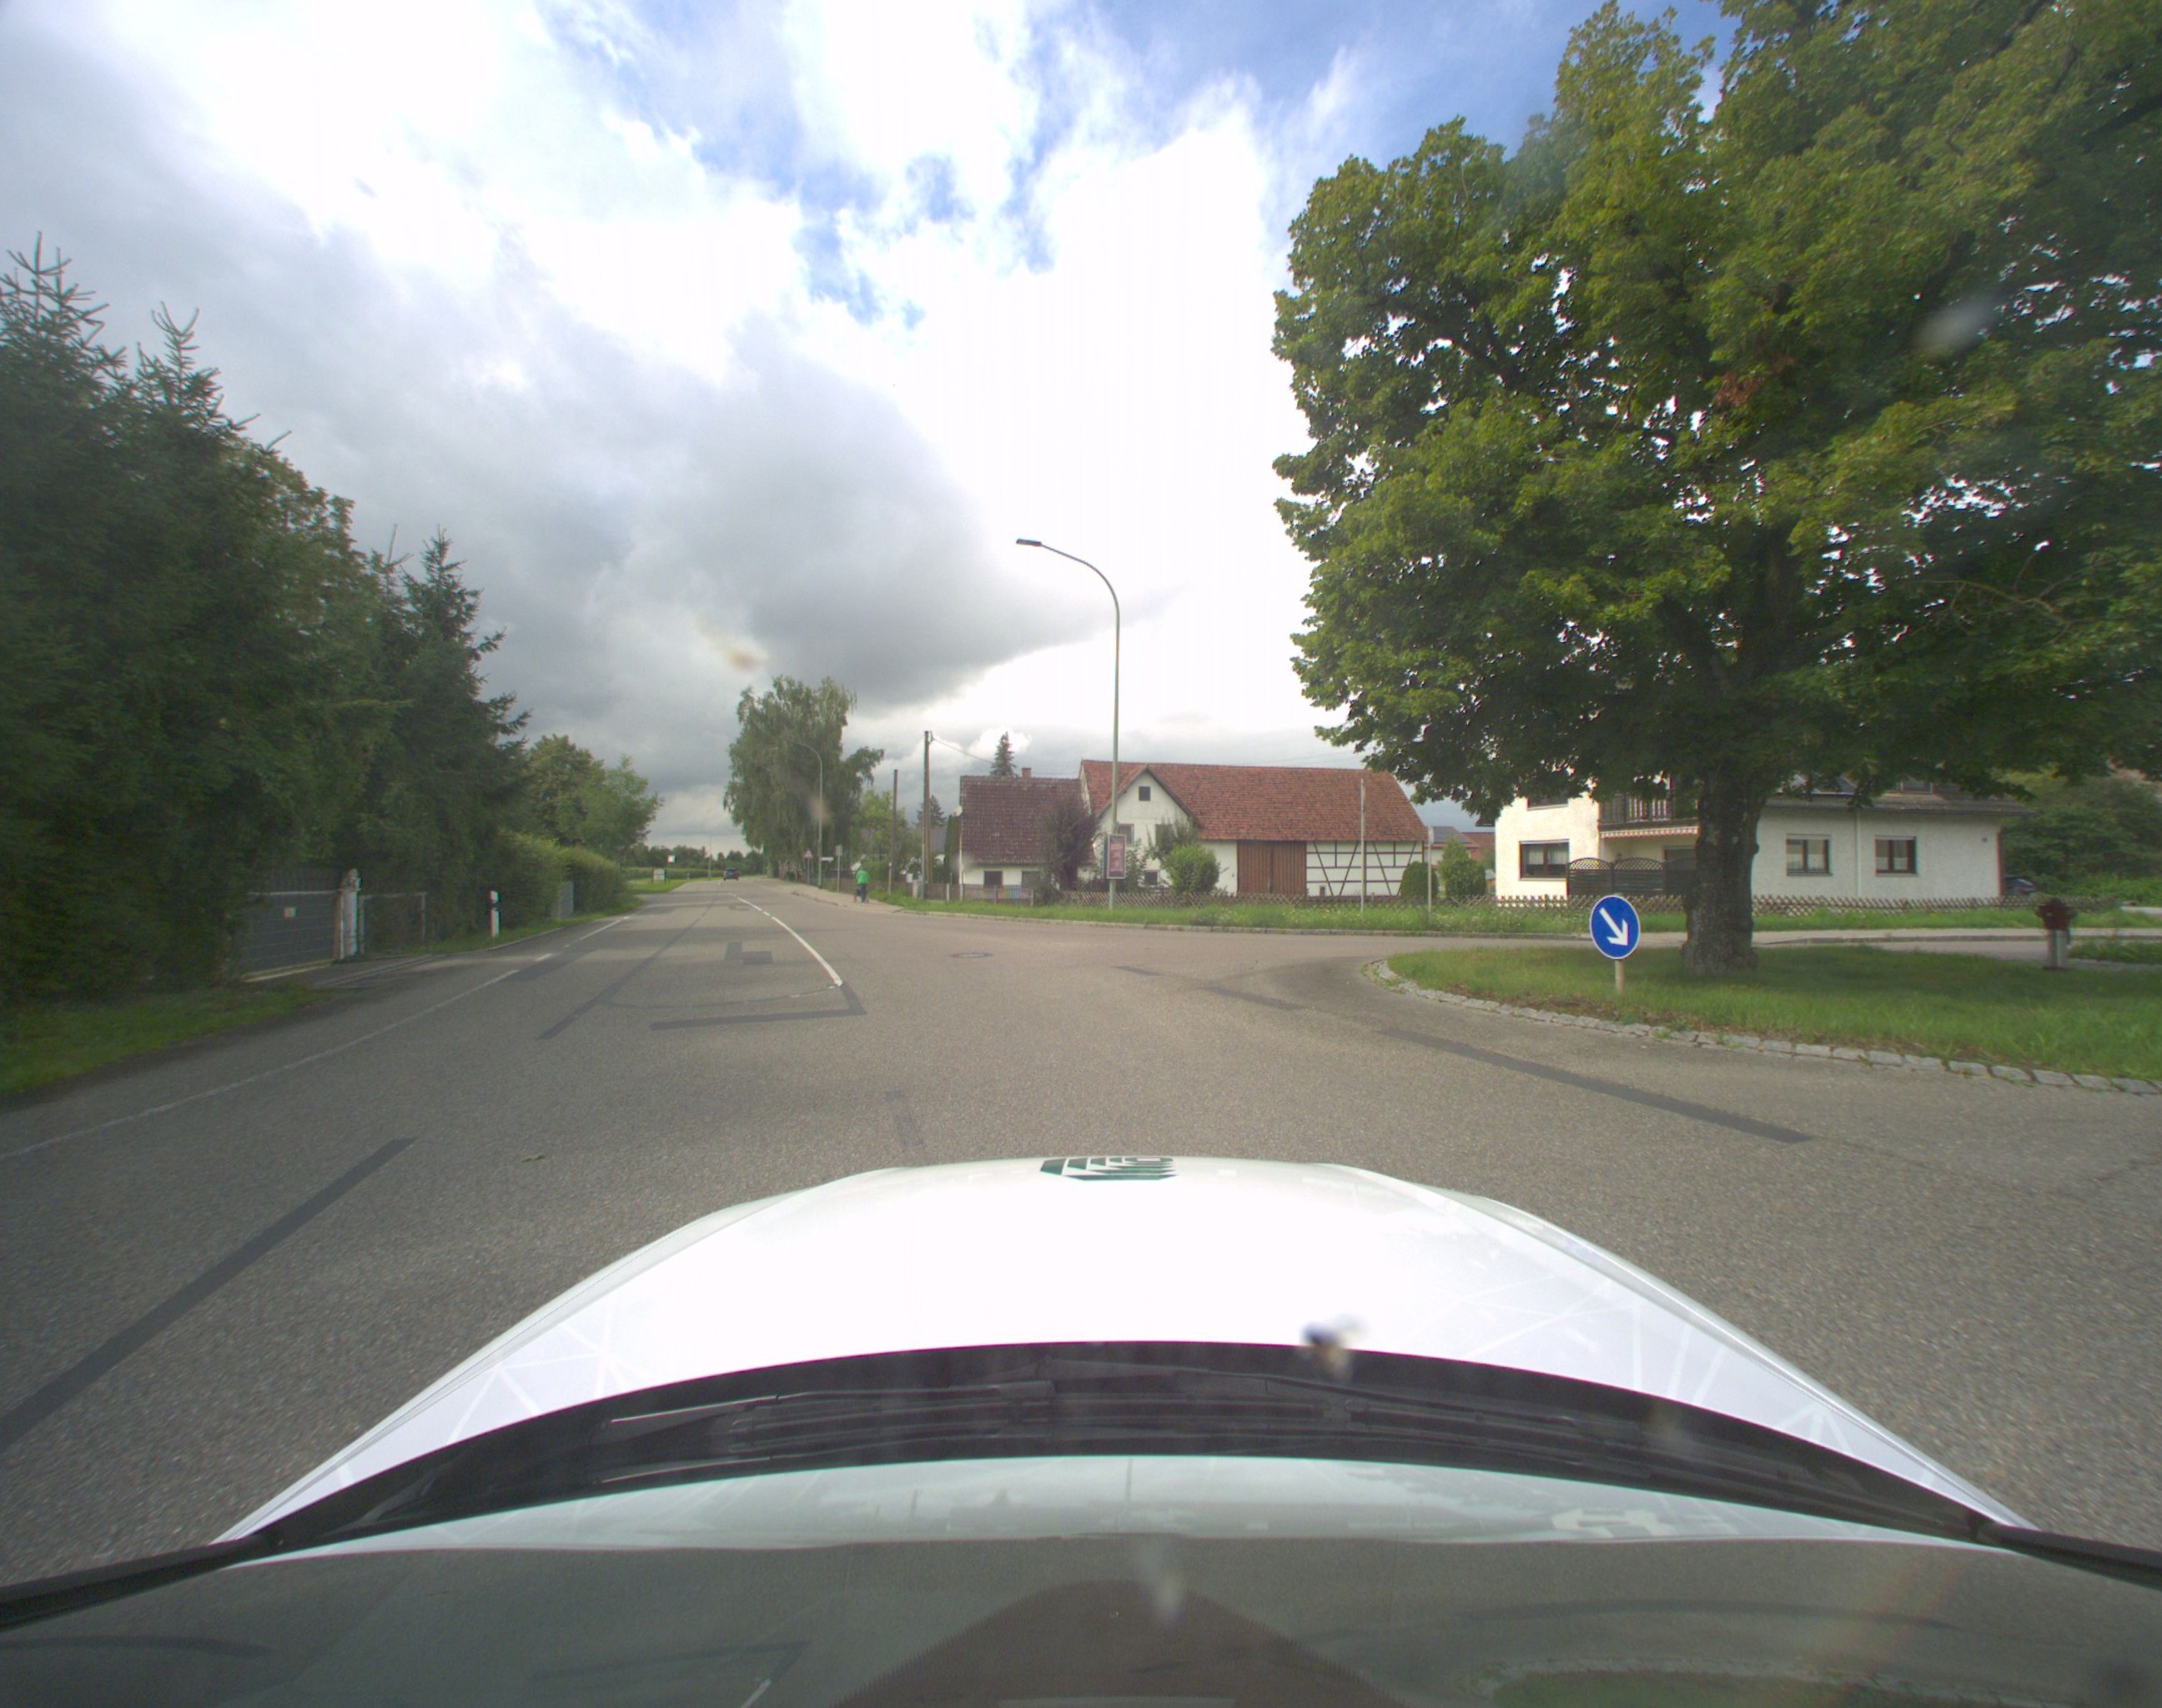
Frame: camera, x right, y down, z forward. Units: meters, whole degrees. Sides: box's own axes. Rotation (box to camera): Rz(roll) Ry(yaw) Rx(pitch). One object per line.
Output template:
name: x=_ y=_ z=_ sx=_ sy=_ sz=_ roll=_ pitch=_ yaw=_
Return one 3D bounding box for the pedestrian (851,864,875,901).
pedestrian: x=-10.130 y=1.309 z=37.799 sx=0.793 sy=1.665 sz=0.705 roll=6 pitch=-3 yaw=-28

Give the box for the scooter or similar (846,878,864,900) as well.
scooter or similar: x=-10.643 y=1.639 z=38.328 sx=0.634 sy=0.948 sz=0.616 roll=6 pitch=-3 yaw=-28

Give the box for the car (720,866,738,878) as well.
car: x=-46.039 y=2.363 z=106.579 sx=2.002 sy=1.552 sz=3.969 roll=1 pitch=-1 yaw=-23
